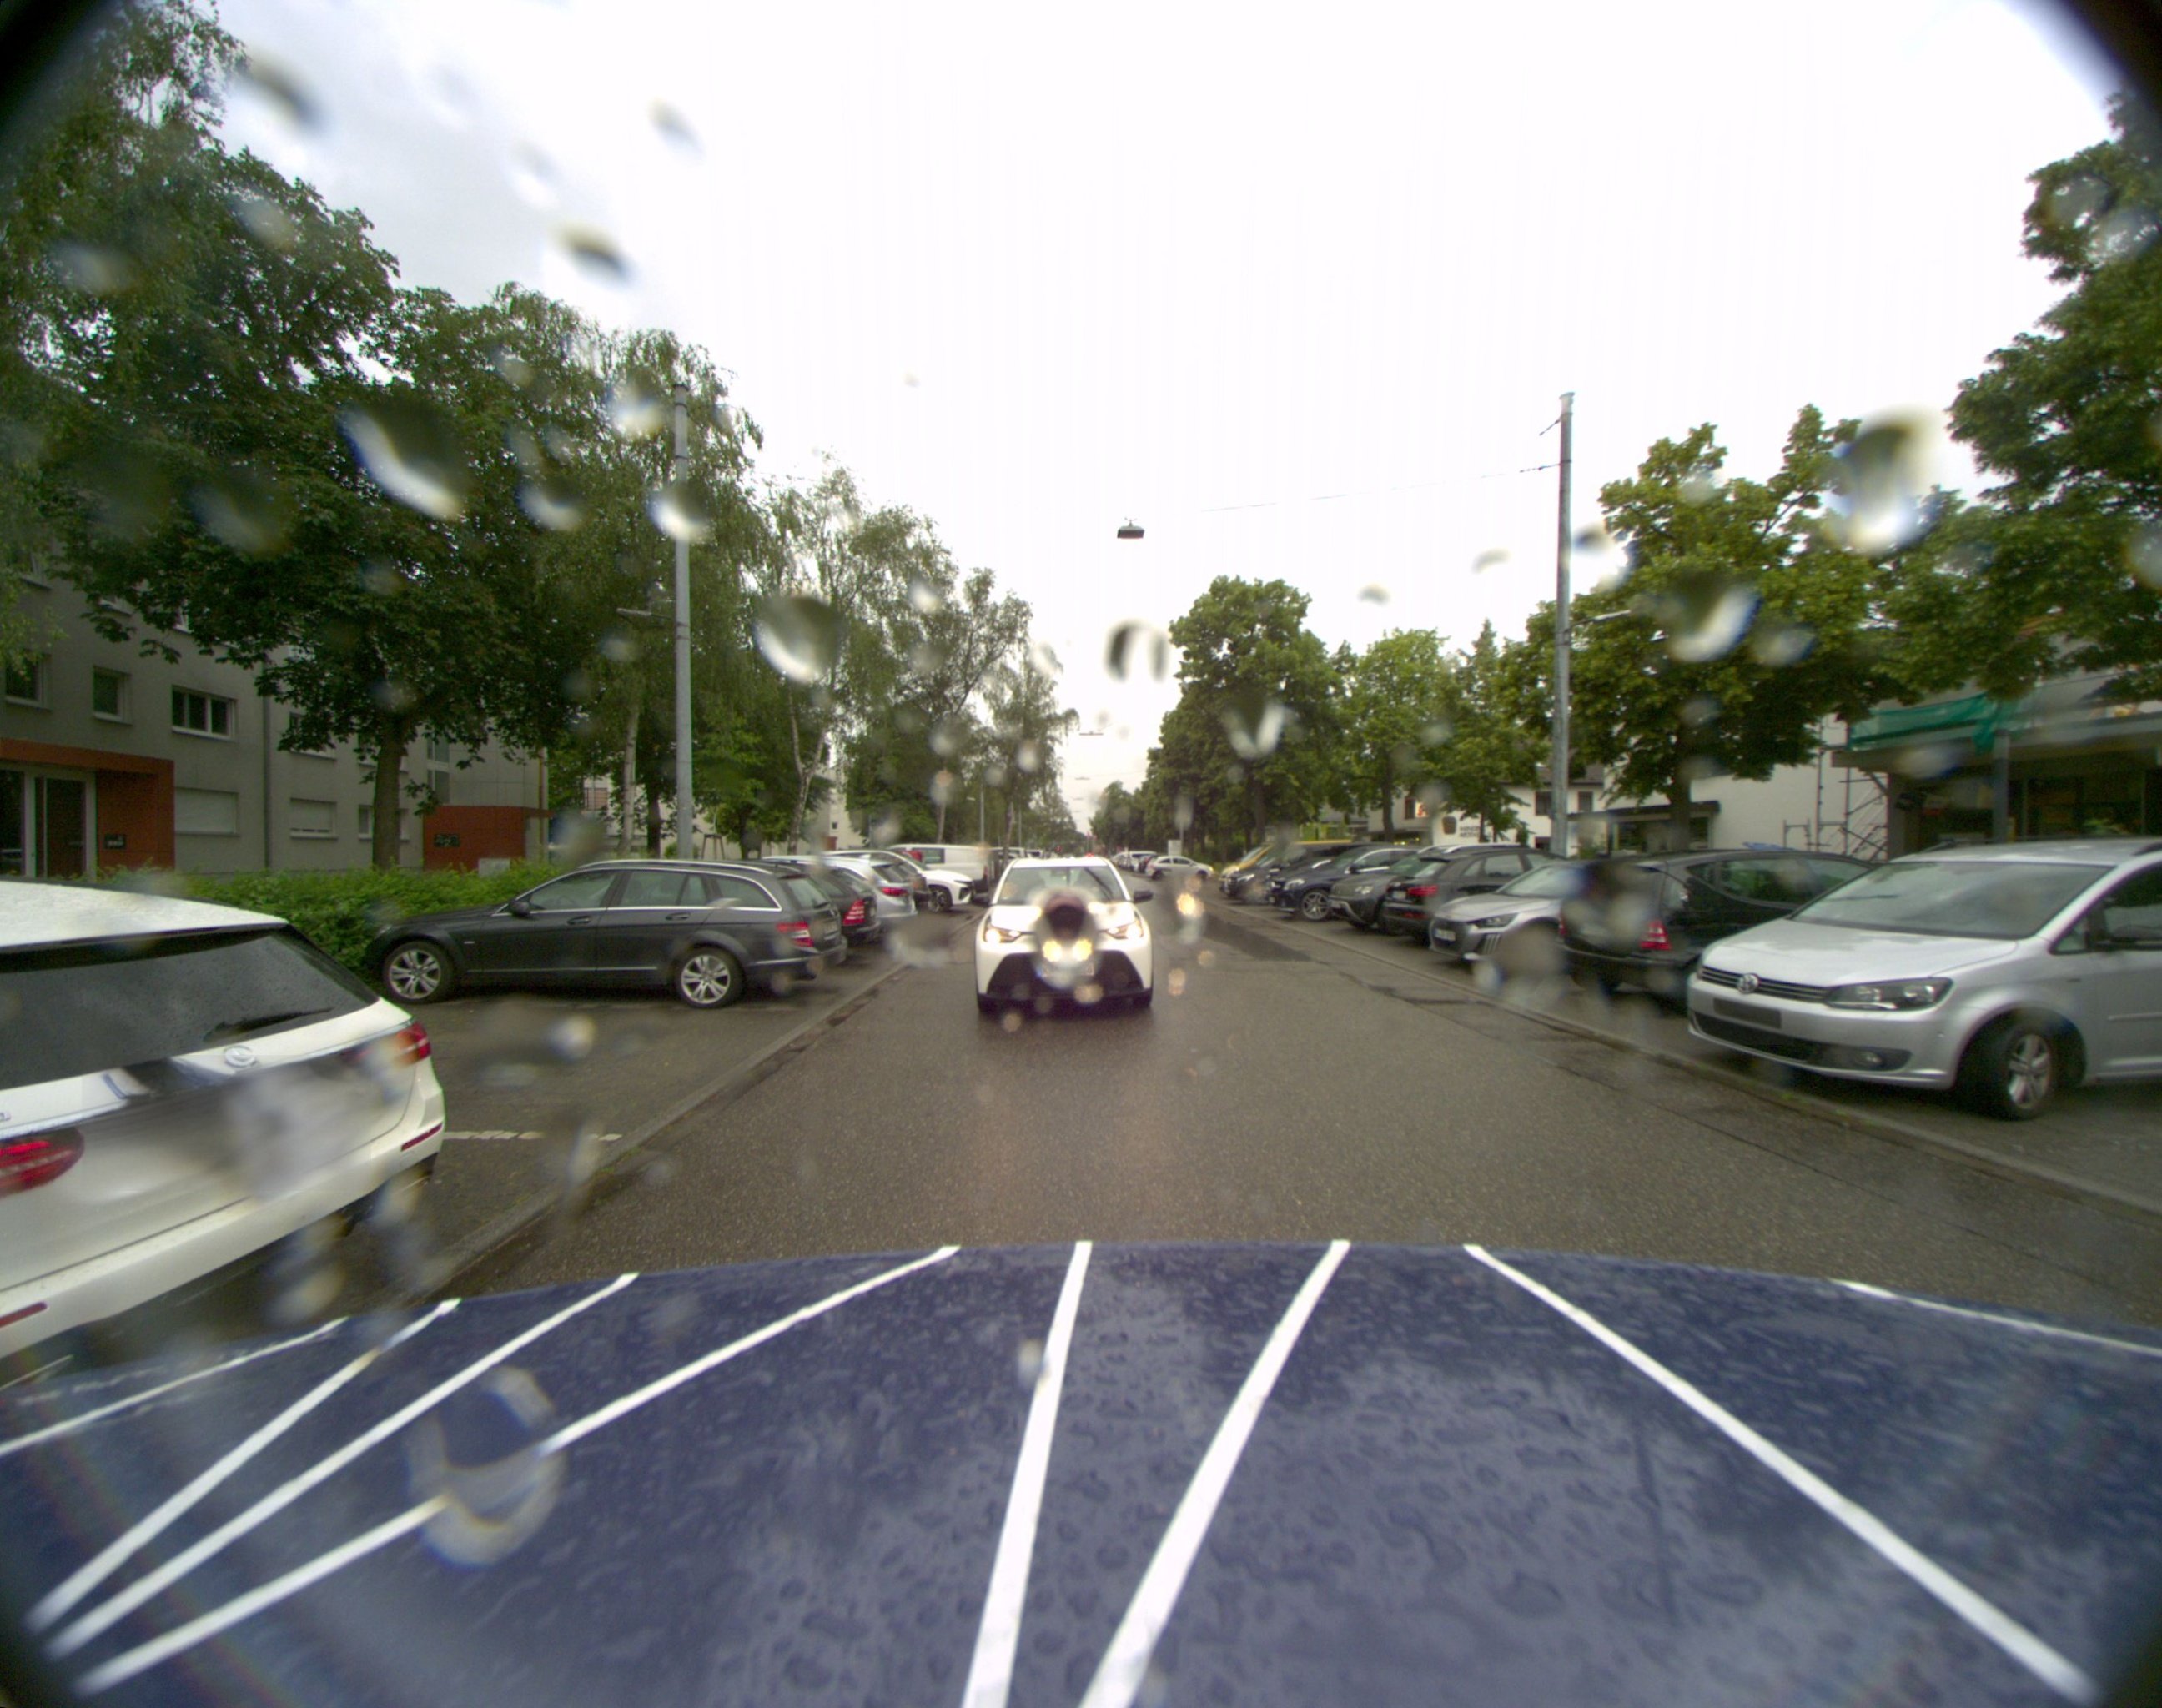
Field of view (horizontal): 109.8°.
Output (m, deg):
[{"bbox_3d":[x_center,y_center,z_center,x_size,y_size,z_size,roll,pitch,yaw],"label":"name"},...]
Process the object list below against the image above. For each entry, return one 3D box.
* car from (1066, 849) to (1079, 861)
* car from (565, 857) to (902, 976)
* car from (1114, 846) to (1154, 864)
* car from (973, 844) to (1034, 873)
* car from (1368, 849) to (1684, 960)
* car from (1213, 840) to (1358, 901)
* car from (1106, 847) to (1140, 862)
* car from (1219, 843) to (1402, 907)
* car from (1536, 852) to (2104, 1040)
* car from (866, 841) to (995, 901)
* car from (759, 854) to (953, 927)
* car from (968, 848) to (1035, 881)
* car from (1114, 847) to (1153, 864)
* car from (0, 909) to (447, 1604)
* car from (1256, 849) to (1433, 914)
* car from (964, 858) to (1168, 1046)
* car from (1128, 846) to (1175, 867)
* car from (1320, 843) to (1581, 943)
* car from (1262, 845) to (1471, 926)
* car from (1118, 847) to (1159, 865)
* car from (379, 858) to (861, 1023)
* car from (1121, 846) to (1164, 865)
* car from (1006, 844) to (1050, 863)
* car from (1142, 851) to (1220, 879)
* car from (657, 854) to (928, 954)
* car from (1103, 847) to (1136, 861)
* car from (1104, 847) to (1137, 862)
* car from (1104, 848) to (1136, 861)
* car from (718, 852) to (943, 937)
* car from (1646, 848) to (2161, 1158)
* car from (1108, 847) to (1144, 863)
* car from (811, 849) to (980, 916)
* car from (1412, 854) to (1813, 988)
[{"bbox_3d":[-1.378,0.087,123.045,1.998,1.804,3.999,-2,1,1],"label":"car"},{"bbox_3d":[-4.817,0.847,10.985,4.049,1.431,1.680,2,1,-3],"label":"car"},{"bbox_3d":[5.639,0.096,81.228,3.998,1.675,1.999,-2,1,-3],"label":"car"},{"bbox_3d":[-5.481,0.287,54.091,3.995,1.902,1.902,-2,1,4],"label":"car"},{"bbox_3d":[7.262,0.779,12.668,4.283,1.586,1.715,-2,1,-2],"label":"car"},{"bbox_3d":[7.177,0.559,26.923,4.657,1.947,1.715,-2,1,-2],"label":"car"},{"bbox_3d":[5.228,0.057,94.408,3.998,1.675,1.999,-2,1,-3],"label":"car"},{"bbox_3d":[7.114,0.632,23.828,5.177,1.789,1.715,-2,1,-2],"label":"car"},{"bbox_3d":[7.263,0.832,7.745,4.283,1.556,1.635,-2,1,-2],"label":"car"},{"bbox_3d":[-5.095,0.565,26.171,4.182,1.856,1.679,2,1,-6],"label":"car"},{"bbox_3d":[-5.182,0.830,17.893,4.049,1.488,1.680,2,1,-3],"label":"car"},{"bbox_3d":[-5.109,0.652,49.260,3.995,1.902,1.902,-2,1,4],"label":"car"},{"bbox_3d":[5.794,0.173,83.745,3.998,1.675,1.999,-2,1,-3],"label":"car"},{"bbox_3d":[-4.755,0.911,2.061,4.623,1.431,1.680,2,1,0],"label":"car"},{"bbox_3d":[7.205,0.718,21.040,4.283,1.617,1.715,-2,1,-2],"label":"car"},{"bbox_3d":[-0.214,0.869,8.745,1.733,1.519,4.138,-2,1,-3],"label":"car"},{"bbox_3d":[6.374,0.227,68.851,3.998,1.675,1.999,-2,1,-3],"label":"car"},{"bbox_3d":[7.093,0.697,14.847,4.283,1.717,1.715,-2,1,-2],"label":"car"},{"bbox_3d":[6.634,0.696,17.927,4.283,1.717,1.715,-2,1,-2],"label":"car"},{"bbox_3d":[5.934,0.220,78.560,3.998,1.675,1.999,-2,1,-3],"label":"car"},{"bbox_3d":[-4.616,0.847,8.098,4.049,1.431,1.680,2,1,-3],"label":"car"},{"bbox_3d":[6.081,0.148,75.875,3.998,1.675,1.999,-2,1,-3],"label":"car"},{"bbox_3d":[-5.215,-0.093,74.998,3.995,1.670,1.902,-2,1,4],"label":"car"},{"bbox_3d":[5.797,0.642,44.551,4.254,1.446,1.999,-2,1,-1],"label":"car"},{"bbox_3d":[-4.870,0.819,13.266,4.049,1.488,1.680,2,1,-3],"label":"car"},{"bbox_3d":[4.981,0.005,99.163,3.998,1.675,1.999,-2,1,-3],"label":"car"},{"bbox_3d":[5.037,0.032,96.930,3.998,1.675,1.999,-2,1,-3],"label":"car"},{"bbox_3d":[5.218,0.053,101.606,3.998,1.675,1.999,-2,1,-3],"label":"car"},{"bbox_3d":[-5.007,0.794,15.600,4.049,1.488,1.680,2,1,-3],"label":"car"},{"bbox_3d":[6.611,0.832,5.196,4.283,1.625,1.715,-2,1,-2],"label":"car"},{"bbox_3d":[5.345,0.106,90.302,3.998,1.675,1.999,-2,1,-3],"label":"car"},{"bbox_3d":[-5.021,0.747,20.901,4.179,1.609,1.680,2,1,1],"label":"car"},{"bbox_3d":[7.006,0.828,10.299,4.283,1.523,1.715,-2,1,-2],"label":"car"}]
